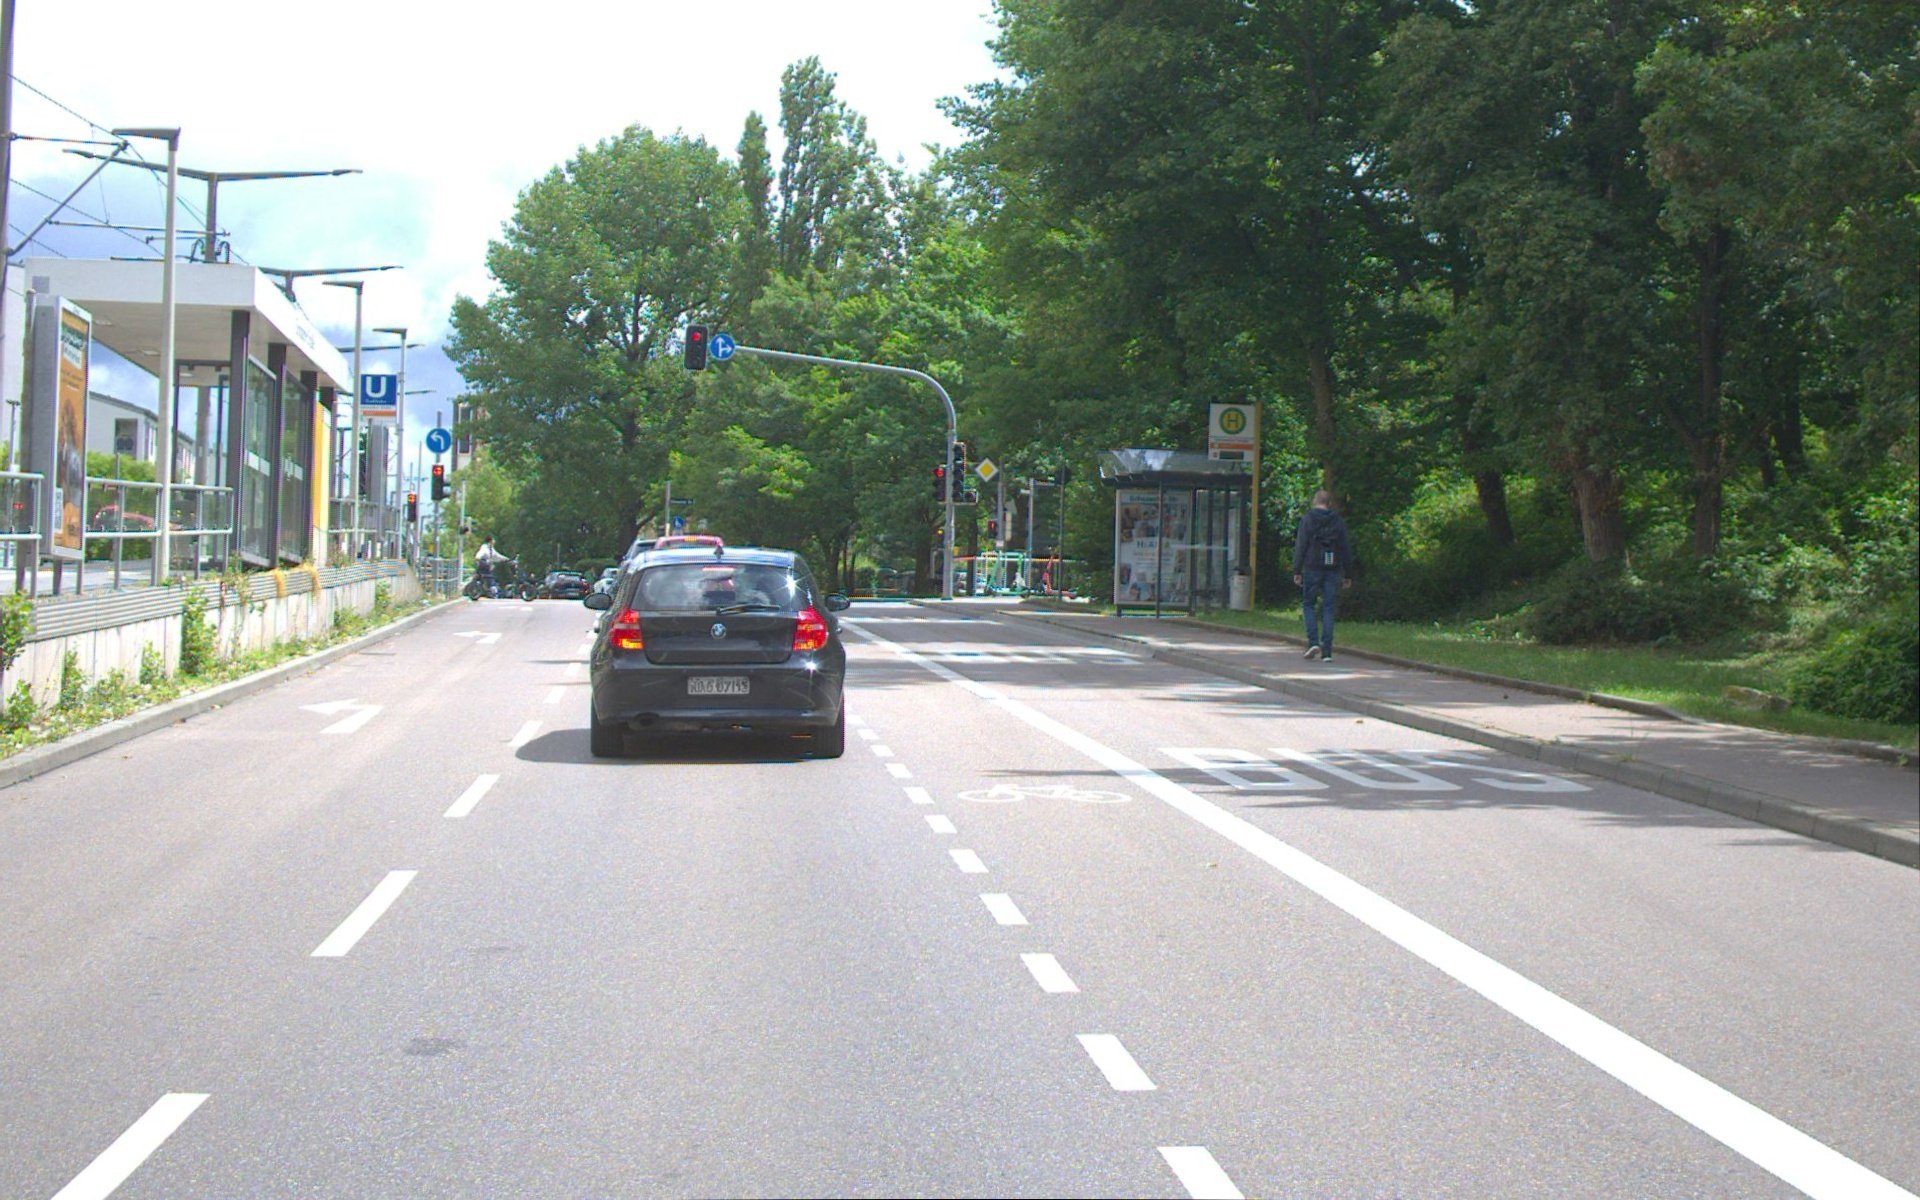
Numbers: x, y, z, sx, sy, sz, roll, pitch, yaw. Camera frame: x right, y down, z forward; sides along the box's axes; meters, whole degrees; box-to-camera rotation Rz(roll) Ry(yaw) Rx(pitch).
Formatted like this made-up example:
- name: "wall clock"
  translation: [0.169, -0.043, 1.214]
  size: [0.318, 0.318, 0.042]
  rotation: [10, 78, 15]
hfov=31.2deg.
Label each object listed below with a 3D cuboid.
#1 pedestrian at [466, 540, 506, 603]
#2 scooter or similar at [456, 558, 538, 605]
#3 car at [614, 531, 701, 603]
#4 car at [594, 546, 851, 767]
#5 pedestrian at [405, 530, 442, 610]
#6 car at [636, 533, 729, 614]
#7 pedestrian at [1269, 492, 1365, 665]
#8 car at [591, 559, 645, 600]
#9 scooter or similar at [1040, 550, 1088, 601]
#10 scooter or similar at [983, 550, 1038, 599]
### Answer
- name: "pedestrian"
  translation: [-10.809, -0.649, 78.407]
  size: [0.865, 1.438, 0.799]
  rotation: [0, 1, -9]
- name: "scooter or similar"
  translation: [-10.495, -0.413, 77.938]
  size: [1.780, 1.047, 0.410]
  rotation: [0, 1, -20]
- name: "car"
  translation: [-6.204, -0.691, 70.342]
  size: [1.654, 1.414, 3.518]
  rotation: [1, 1, -7]
- name: "car"
  translation: [-1.643, 0.344, 24.083]
  size: [1.654, 1.414, 3.517]
  rotation: [1, 1, -3]
- name: "pedestrian"
  translation: [-11.047, -0.619, 70.800]
  size: [0.701, 1.627, 0.638]
  rotation: [0, 1, -5]
- name: "car"
  translation: [-4.994, -0.489, 61.963]
  size: [1.594, 1.414, 3.517]
  rotation: [1, 1, -4]
- name: "pedestrian"
  translation: [3.997, -0.244, 38.620]
  size: [0.801, 1.889, 1.271]
  rotation: [2, 0, -4]
- name: "car"
  translation: [-12.275, -0.756, 123.552]
  size: [1.654, 1.414, 3.517]
  rotation: [0, 1, -1]
- name: "scooter or similar"
  translation: [2.563, -0.609, 84.647]
  size: [1.106, 1.253, 0.332]
  rotation: [0, 1, -17]
- name: "scooter or similar"
  translation: [1.231, -0.613, 83.777]
  size: [1.287, 1.185, 0.385]
  rotation: [0, 1, -20]
